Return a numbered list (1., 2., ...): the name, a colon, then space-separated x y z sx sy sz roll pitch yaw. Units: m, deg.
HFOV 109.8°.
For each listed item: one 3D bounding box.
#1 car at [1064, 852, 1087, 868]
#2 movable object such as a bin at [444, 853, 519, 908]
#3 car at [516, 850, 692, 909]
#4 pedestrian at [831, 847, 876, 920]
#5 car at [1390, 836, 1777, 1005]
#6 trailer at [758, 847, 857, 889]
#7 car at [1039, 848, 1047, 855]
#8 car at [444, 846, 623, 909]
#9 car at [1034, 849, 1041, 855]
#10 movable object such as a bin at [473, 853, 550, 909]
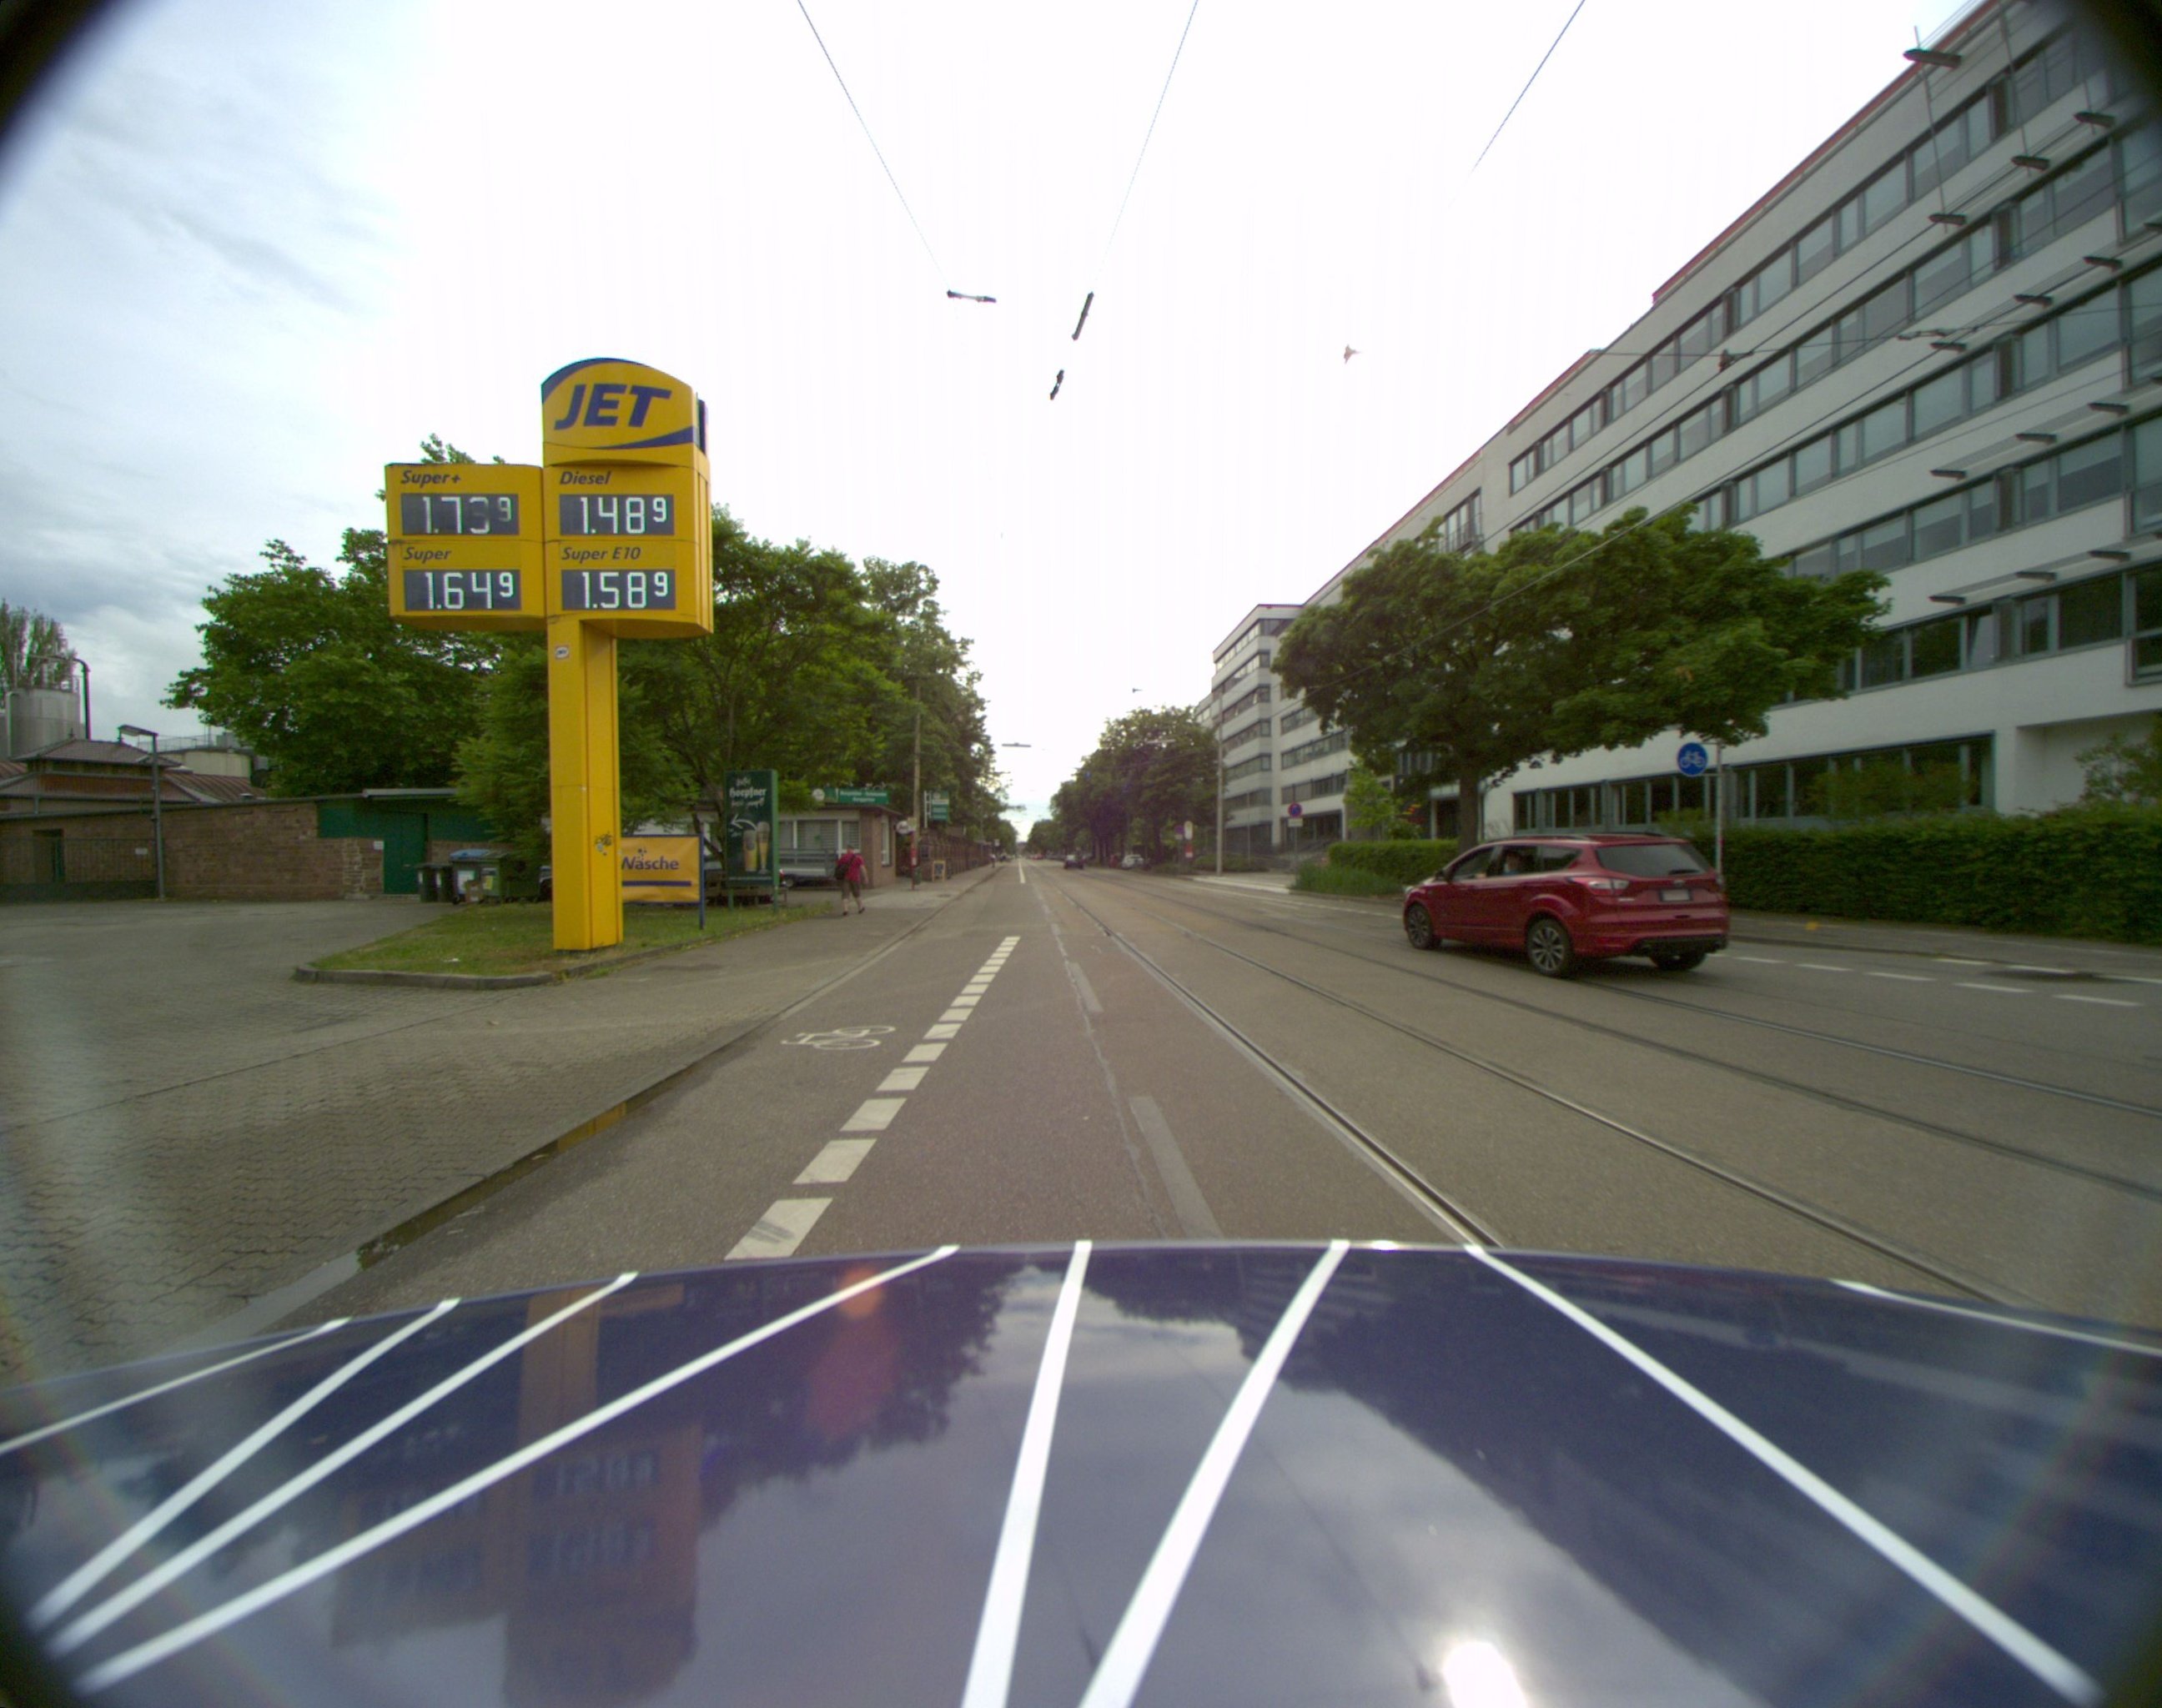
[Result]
1. car: -0.612 0.562 77.754 1.802 1.537 4.477 -2 1 -7
2. movable object such as a bin: -15.538 0.666 19.709 1.118 1.351 1.162 -1 1 31
3. car: -14.147 0.707 22.731 1.822 1.509 4.008 -1 1 37
4. pedestrian: -5.605 0.713 18.704 0.871 1.738 0.848 1 1 -29
5. car: 6.112 0.658 10.039 1.848 1.714 4.404 -1 1 -7
6. trailer: -10.701 0.517 29.895 3.292 1.523 1.772 1 3 -4
7. car: -11.108 -0.670 224.070 1.998 2.002 3.999 -2 1 0
8. car: -16.677 0.666 23.353 1.807 1.686 4.033 -1 1 33
9. car: -14.969 -0.603 261.517 1.999 2.002 3.998 -2 1 -3
10. movable object such as a bin: -14.385 0.666 19.213 1.118 1.312 1.162 -1 1 31
